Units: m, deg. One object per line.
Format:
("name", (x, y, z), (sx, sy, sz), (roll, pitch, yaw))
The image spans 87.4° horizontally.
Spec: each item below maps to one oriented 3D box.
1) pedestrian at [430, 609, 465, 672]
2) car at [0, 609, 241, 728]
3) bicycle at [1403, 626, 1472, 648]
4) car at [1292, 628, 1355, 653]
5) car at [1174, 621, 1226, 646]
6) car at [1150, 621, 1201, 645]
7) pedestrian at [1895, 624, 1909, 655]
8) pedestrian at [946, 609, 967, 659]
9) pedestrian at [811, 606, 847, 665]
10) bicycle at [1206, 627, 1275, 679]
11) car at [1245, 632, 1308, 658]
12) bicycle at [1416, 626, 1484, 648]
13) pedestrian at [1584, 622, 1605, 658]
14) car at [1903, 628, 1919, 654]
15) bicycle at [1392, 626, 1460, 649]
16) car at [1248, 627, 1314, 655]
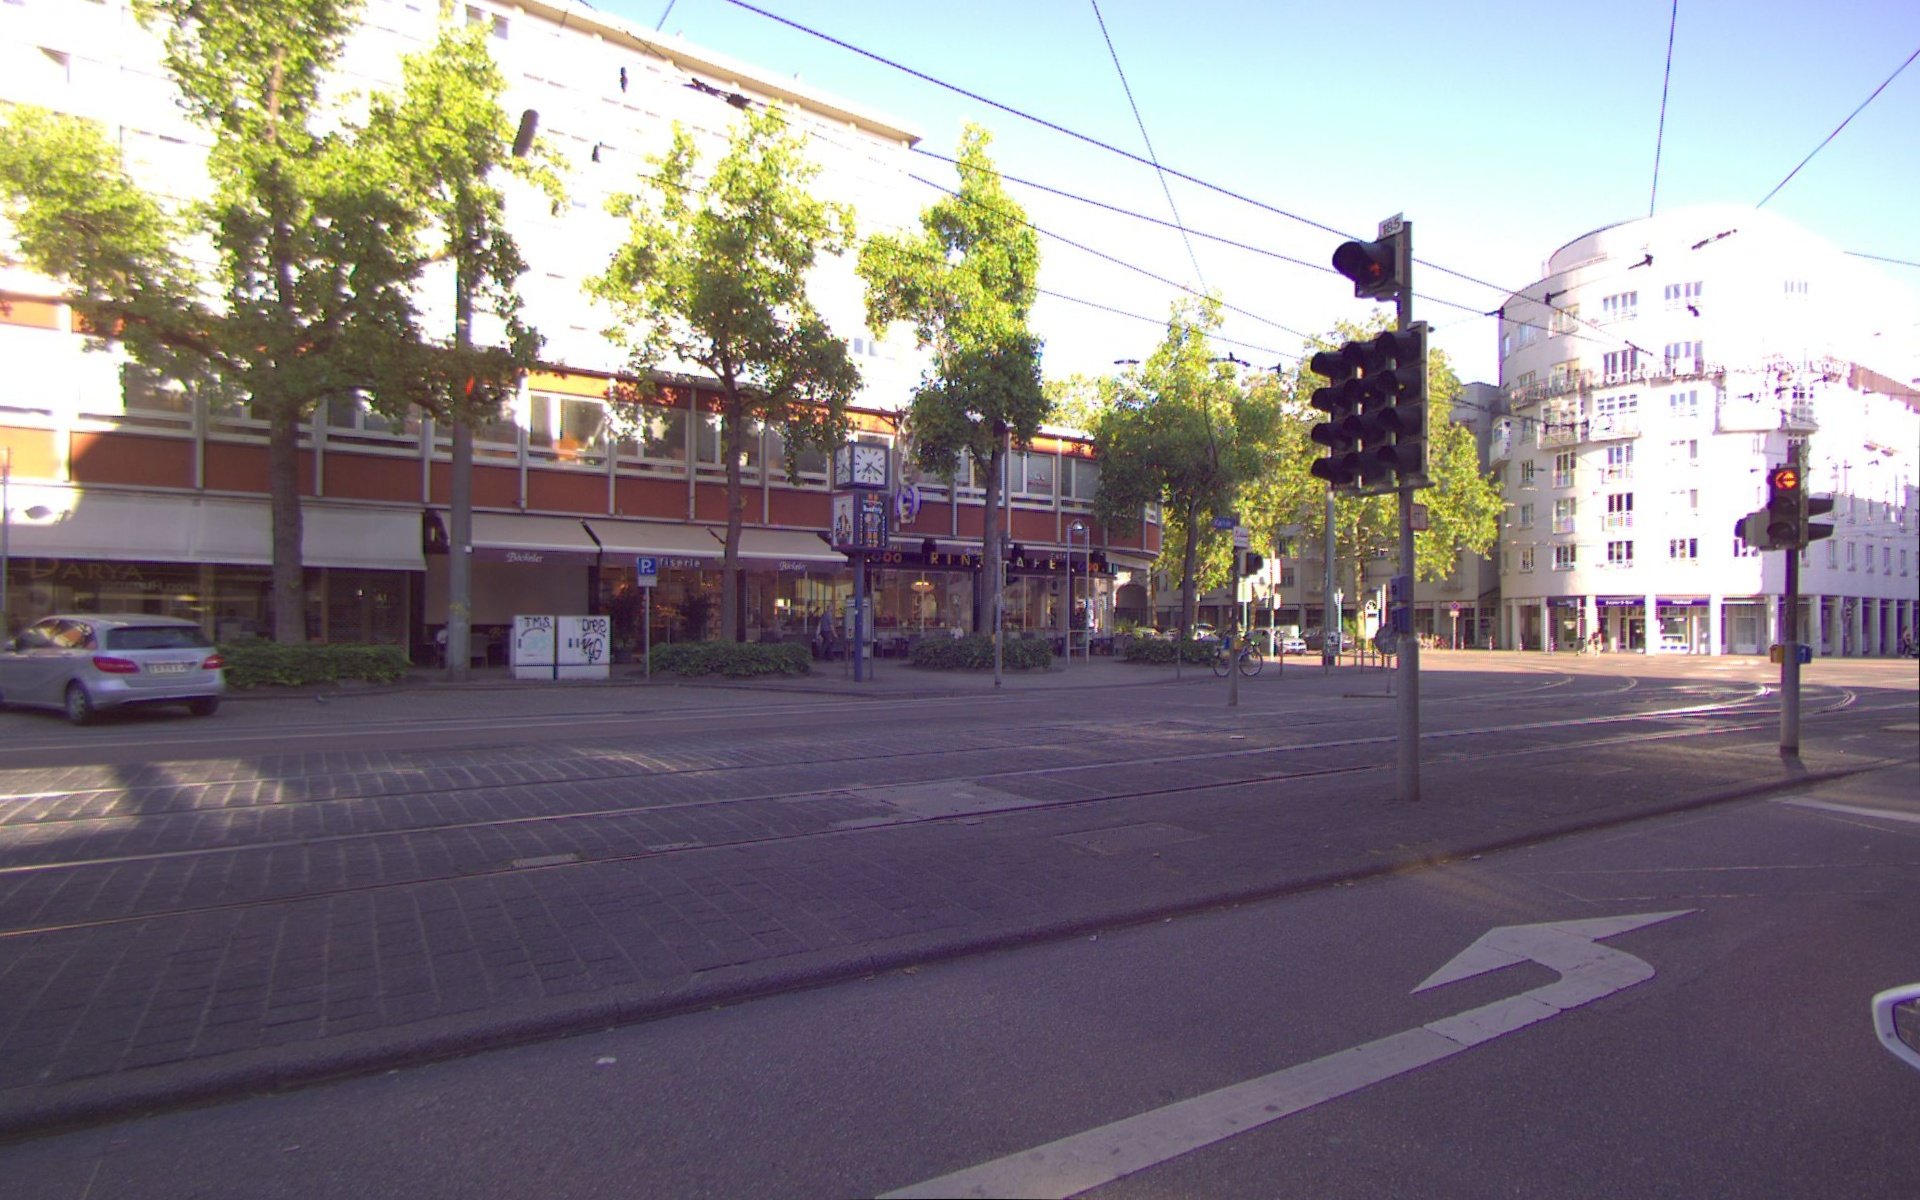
("pedestrian", (-13.222, 1.027, 25.919), (0.699, 1.584, 0.867), (1, -1, -33))
("car", (-13.537, 0.983, 15.812), (4.200, 1.587, 1.825), (1, -1, 26))
("bicycle", (33.986, 2.629, 71.619), (1.053, 1.550, 4.684), (1, -2, -29))
("car", (24.172, 2.668, 66.956), (1.595, 1.551, 3.973), (0, -1, -27))
("car", (19.922, 2.775, 83.443), (3.954, 1.990, 1.984), (1, -1, -31))
("car", (18.440, 2.819, 85.953), (3.954, 1.990, 1.984), (1, -1, -31))
("pedestrian", (52.840, 2.199, 56.331), (0.482, 1.704, 0.520), (1, -2, -40))
("pedestrian", (-0.134, 1.177, 35.003), (0.590, 1.745, 0.647), (0, 1, -14))
("pedestrian", (-3.975, 1.052, 30.446), (0.866, 1.745, 0.700), (0, 1, -34))
("bicycle", (7.712, 1.430, 27.574), (1.884, 1.345, 0.667), (1, 1, -30))
("car", (16.878, 2.360, 53.727), (1.738, 1.312, 4.014), (0, -2, -7))
("bicycle", (35.278, 2.668, 72.447), (1.053, 1.550, 4.684), (1, -2, -29))
("pedestrian", (36.365, 2.283, 57.578), (0.930, 2.040, 0.939), (0, -1, 30))
("car", (58.462, 2.456, 60.414), (3.423, 1.566, 1.756), (1, -2, -32))
("bicycle", (32.955, 2.623, 71.154), (1.053, 1.550, 4.684), (1, -2, -29))
("car", (18.741, 2.354, 58.840), (1.605, 1.579, 4.001), (0, -2, -19))
